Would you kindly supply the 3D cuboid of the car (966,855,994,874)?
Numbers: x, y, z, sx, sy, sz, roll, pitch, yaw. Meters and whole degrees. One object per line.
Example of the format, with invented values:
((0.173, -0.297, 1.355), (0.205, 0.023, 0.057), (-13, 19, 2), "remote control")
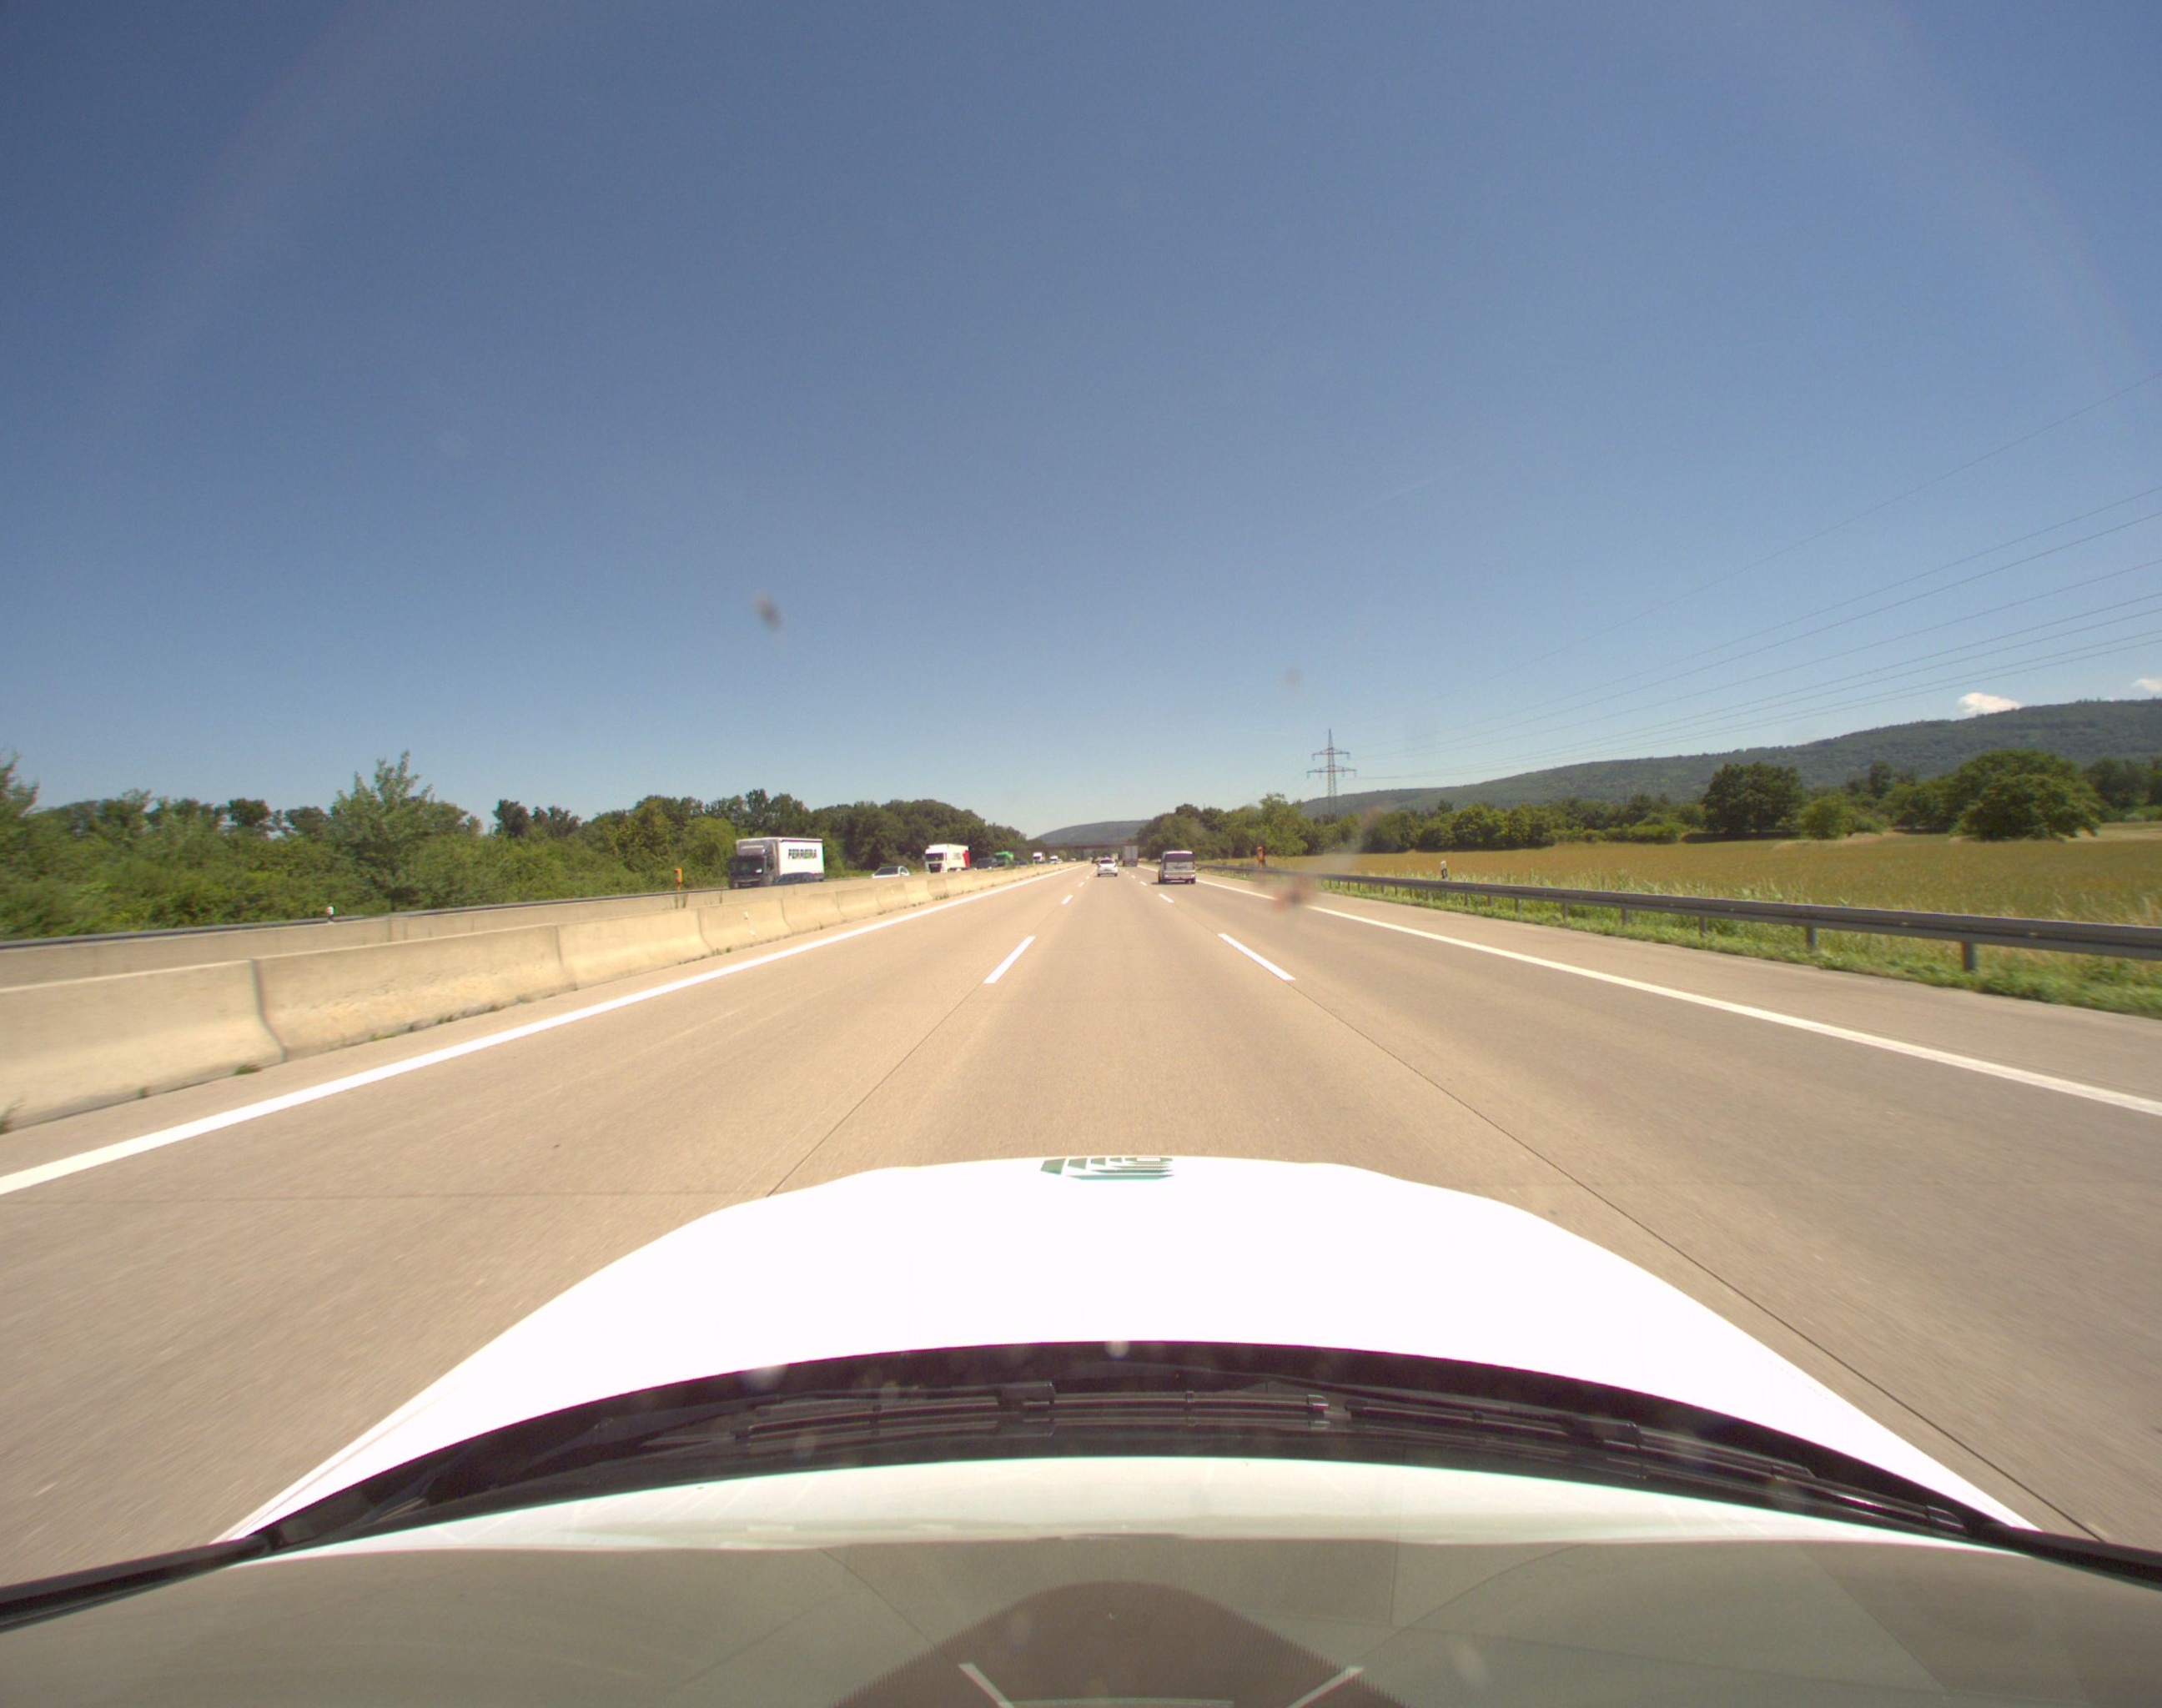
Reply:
((-9.765, 1.005, 79.274), (1.986, 1.795, 4.469), (0, 0, 2), "car")

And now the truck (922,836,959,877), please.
((-16.895, 0.323, 98.313), (3.070, 4.762, 6.501), (0, 0, 2), "truck")

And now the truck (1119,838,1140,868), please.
((9.609, -0.269, 161.494), (3.709, 5.811, 7.053), (0, 0, 0), "truck")

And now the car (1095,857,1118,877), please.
((2.160, 1.100, 69.701), (1.813, 1.661, 4.001), (-1, 0, 1), "car")

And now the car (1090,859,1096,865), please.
((3.623, 2.390, 246.441), (1.922, 1.794, 4.001), (0, 0, 1), "car")

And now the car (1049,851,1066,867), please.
((-2.872, 0.604, 101.317), (1.987, 1.849, 4.000), (1, 0, 0), "car")

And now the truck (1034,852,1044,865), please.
((-12.365, 1.389, 241.344), (2.548, 3.849, 6.792), (0, 0, 1), "truck")

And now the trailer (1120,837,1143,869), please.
((9.572, -0.268, 155.080), (3.709, 5.811, 12.161), (0, 0, 0), "trailer")

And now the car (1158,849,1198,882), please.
((5.631, 0.645, 47.765), (1.986, 1.849, 4.001), (0, 0, 1), "car")

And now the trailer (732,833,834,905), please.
((-18.390, 0.841, 50.979), (2.942, 4.105, 8.488), (0, 0, 2), "trailer")

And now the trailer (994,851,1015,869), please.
((-15.922, 1.308, 171.273), (3.038, 3.634, 11.671), (0, 0, 1), "trailer")

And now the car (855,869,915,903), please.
((-11.280, 1.790, 47.232), (1.986, 1.757, 5.160), (0, 0, 2), "car")

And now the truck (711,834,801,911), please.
((-18.535, 1.003, 46.840), (2.942, 4.127, 5.088), (0, 0, 2), "truck")

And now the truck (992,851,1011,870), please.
((-16.066, 1.310, 165.058), (3.038, 3.634, 7.979), (0, 0, 1), "truck")

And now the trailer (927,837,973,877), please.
((-16.636, 0.320, 105.065), (3.070, 4.762, 14.380), (0, 0, 2), "trailer")

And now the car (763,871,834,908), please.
((-14.973, 1.823, 43.430), (1.986, 1.757, 4.717), (0, 0, 2), "car")
